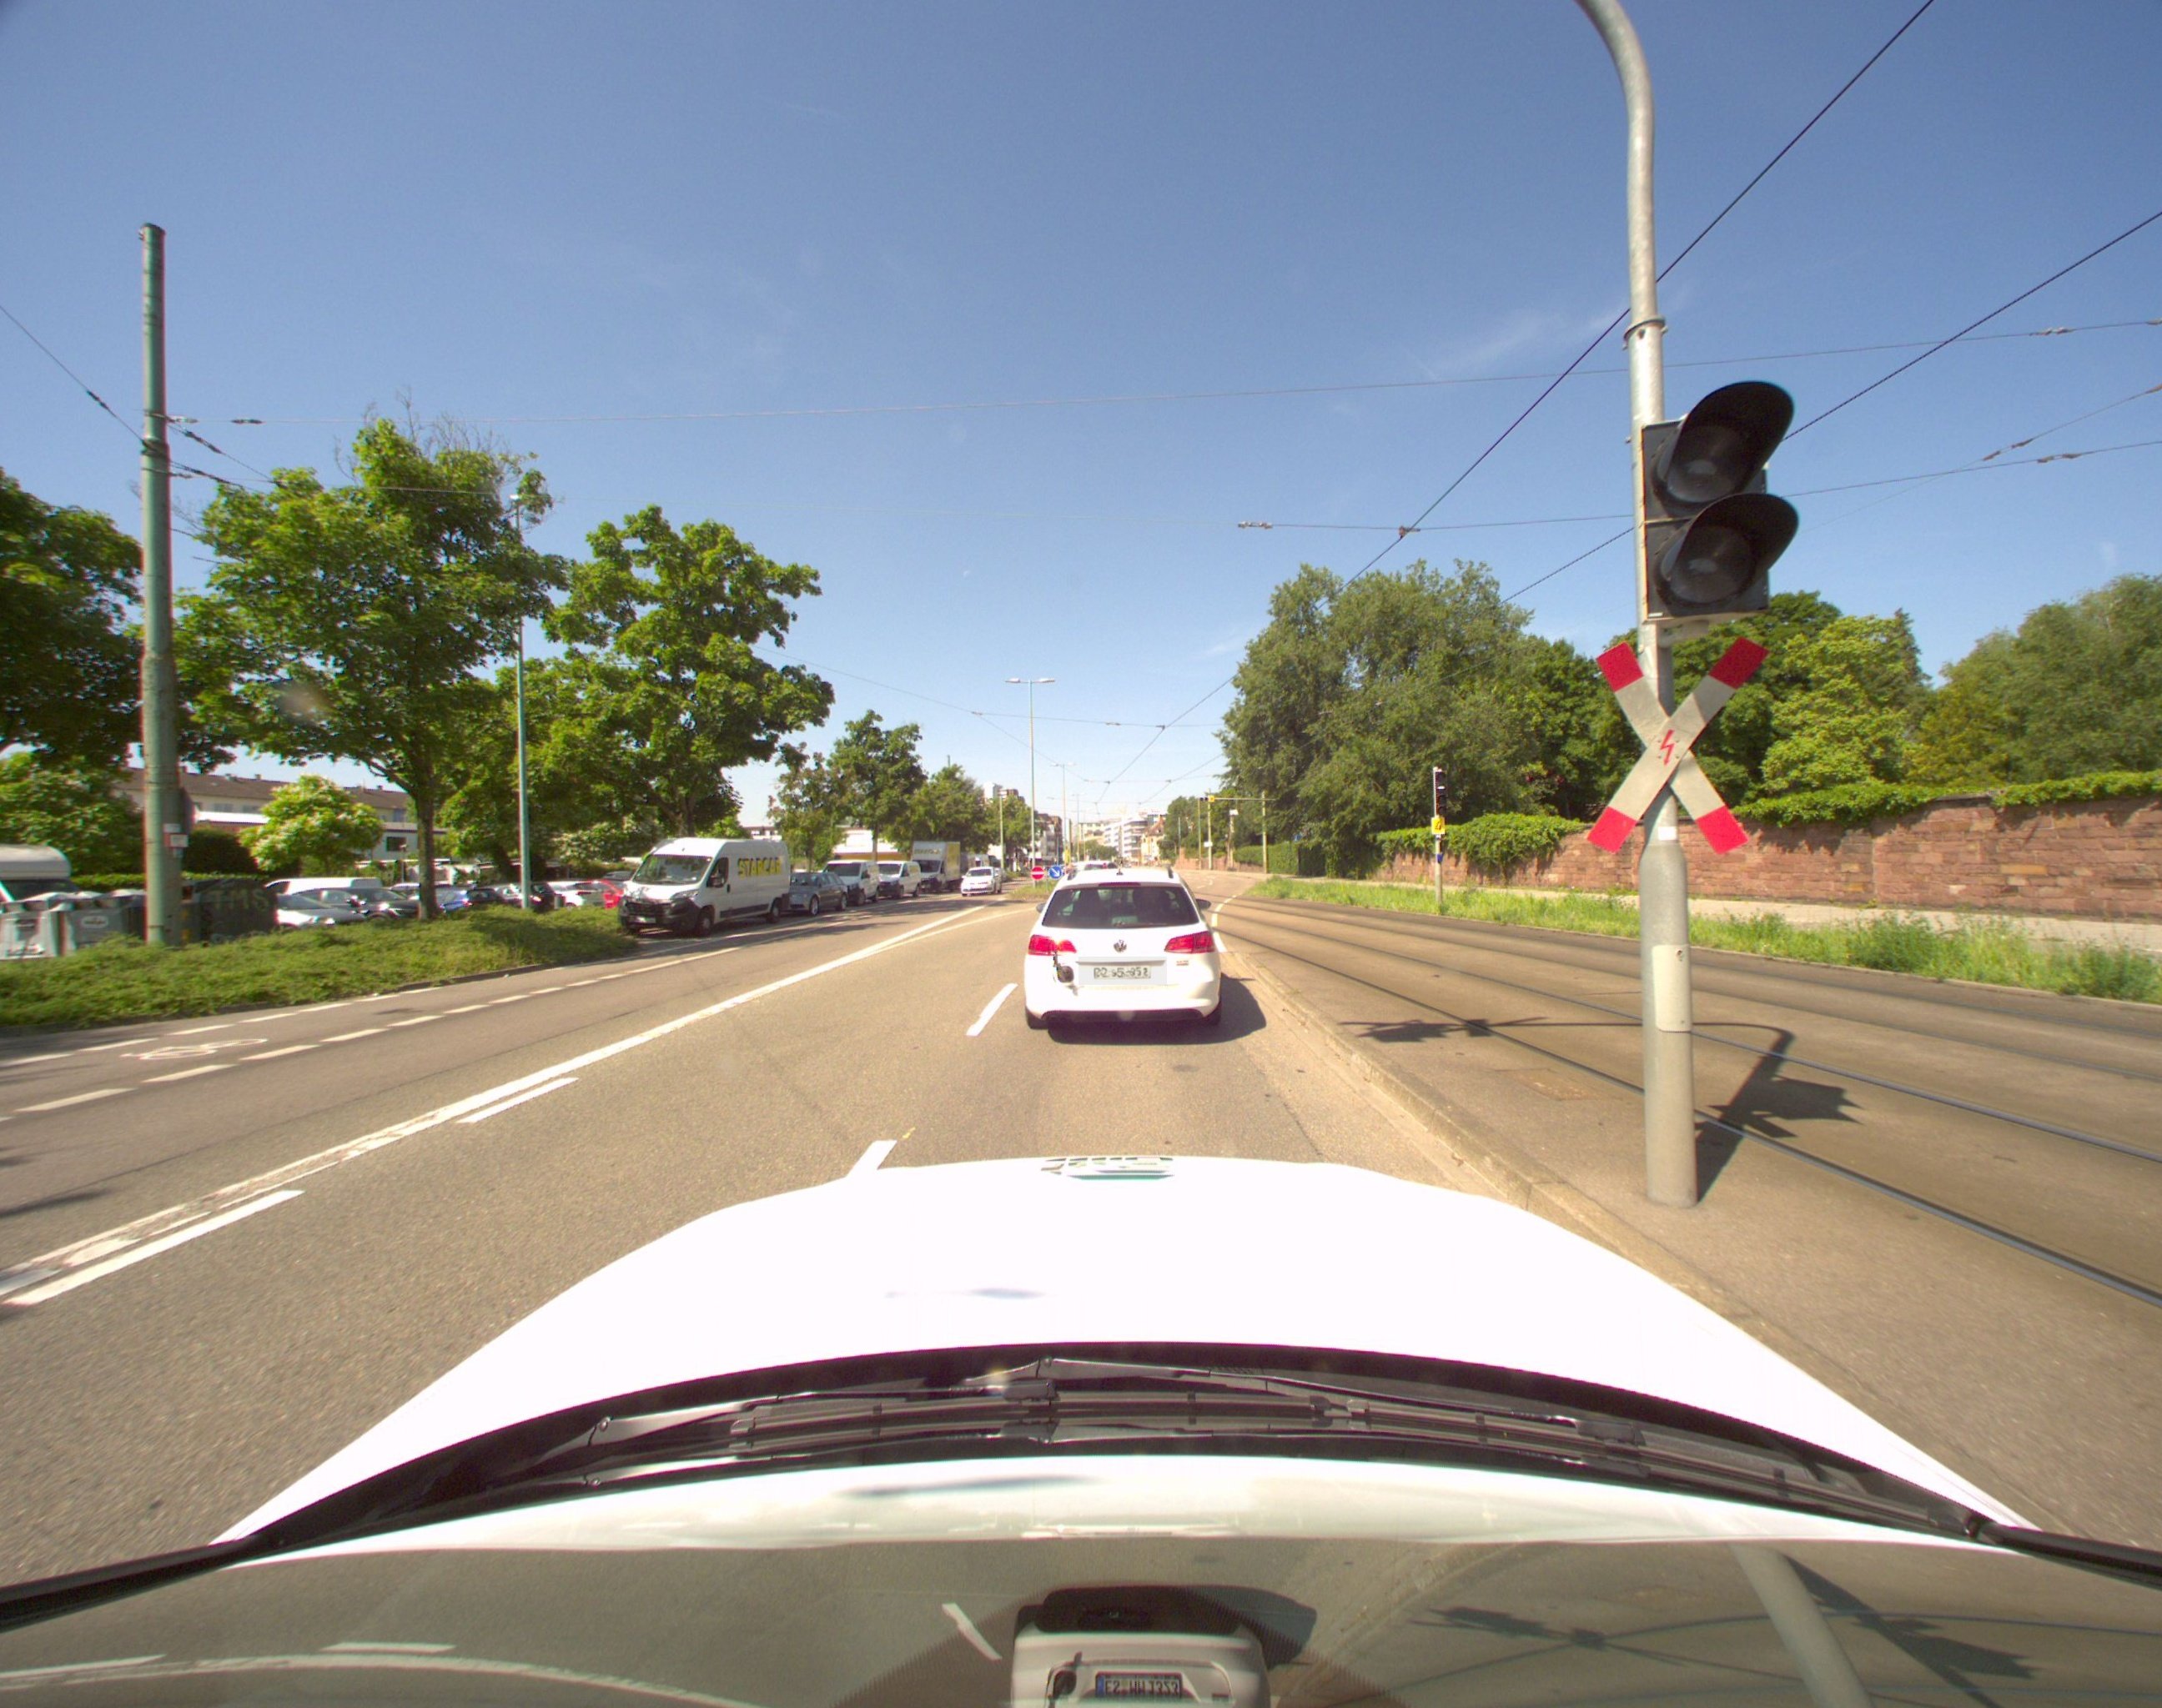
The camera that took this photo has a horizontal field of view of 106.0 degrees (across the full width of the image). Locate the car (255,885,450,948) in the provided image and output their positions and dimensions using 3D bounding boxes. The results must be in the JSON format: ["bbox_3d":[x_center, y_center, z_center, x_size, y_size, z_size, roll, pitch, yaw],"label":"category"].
[{"bbox_3d":[-20.582,1.732,23.126,3.975,1.544,1.663,-2,-1,-1],"label":"car"}]

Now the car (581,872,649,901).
[{"bbox_3d":[-35.515,2.432,62.094,3.977,2.003,1.909,-2,-1,-3],"label":"car"}]

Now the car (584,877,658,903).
[{"bbox_3d":[-31.778,2.470,56.329,3.977,1.544,1.784,-2,-1,-3],"label":"car"}]

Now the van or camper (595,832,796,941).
[{"bbox_3d":[-10.209,0.800,22.339,2.248,2.515,6.151,-2,-1,3],"label":"van or camper"}]

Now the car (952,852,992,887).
[{"bbox_3d":[-8.630,1.212,64.876,2.187,2.631,5.981,0,-1,2],"label":"car"}]

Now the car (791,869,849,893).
[{"bbox_3d":[-20.314,2.078,63.479,3.975,1.694,1.663,-2,-1,-1],"label":"car"}]

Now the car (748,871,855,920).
[{"bbox_3d":[-9.659,1.372,28.590,1.925,1.455,4.887,-2,-1,1],"label":"car"}]

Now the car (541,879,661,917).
[{"bbox_3d":[-20.117,1.834,34.214,3.973,1.409,1.732,-2,-1,0],"label":"car"}]

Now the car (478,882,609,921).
[{"bbox_3d":[-20.723,1.819,31.492,3.902,1.271,1.663,-2,-1,0],"label":"car"}]

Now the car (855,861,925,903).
[{"bbox_3d":[-9.696,1.364,41.866,2.187,1.941,5.187,-2,-1,2],"label":"car"}]

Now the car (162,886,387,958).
[{"bbox_3d":[-20.387,1.690,20.701,3.975,1.544,1.663,-2,-1,-1],"label":"car"}]

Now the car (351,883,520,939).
[{"bbox_3d":[-20.510,1.782,25.992,3.975,1.544,1.663,-2,-1,-1],"label":"car"}]

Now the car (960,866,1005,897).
[{"bbox_3d":[-5.030,1.384,41.835,1.721,1.465,4.000,-2,-1,1],"label":"car"}]

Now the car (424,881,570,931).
[{"bbox_3d":[-20.835,1.841,29.157,3.973,1.544,1.663,-2,-1,0],"label":"car"}]

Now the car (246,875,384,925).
[{"bbox_3d":[-32.312,1.900,34.429,3.977,1.891,1.784,-2,-1,-3],"label":"car"}]

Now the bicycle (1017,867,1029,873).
[{"bbox_3d":[-10.290,2.787,144.360,0.546,0.921,2.190,-3,-1,45],"label":"bicycle"}]

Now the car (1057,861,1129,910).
[{"bbox_3d":[0.511,1.043,28.777,1.718,1.596,4.025,0,-1,13],"label":"car"}]

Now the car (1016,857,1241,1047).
[{"bbox_3d":[0.447,0.790,8.357,1.772,1.490,3.848,0,-1,2],"label":"car"}]

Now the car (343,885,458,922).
[{"bbox_3d":[-32.982,2.397,39.550,3.977,1.544,1.784,-2,-1,-3],"label":"car"}]

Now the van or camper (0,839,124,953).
[{"bbox_3d":[-33.844,1.301,24.474,6.929,3.244,2.581,-2,-1,-1],"label":"van or camper"}]

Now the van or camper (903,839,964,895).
[{"bbox_3d":[-8.967,0.784,50.234,2.187,3.241,6.776,0,-1,3],"label":"van or camper"}]

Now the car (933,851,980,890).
[{"bbox_3d":[-8.822,1.147,58.160,2.187,2.669,6.082,0,-1,2],"label":"car"}]

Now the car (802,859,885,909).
[{"bbox_3d":[-10.048,1.217,34.929,2.191,1.941,5.179,-2,-1,-3],"label":"car"}]
